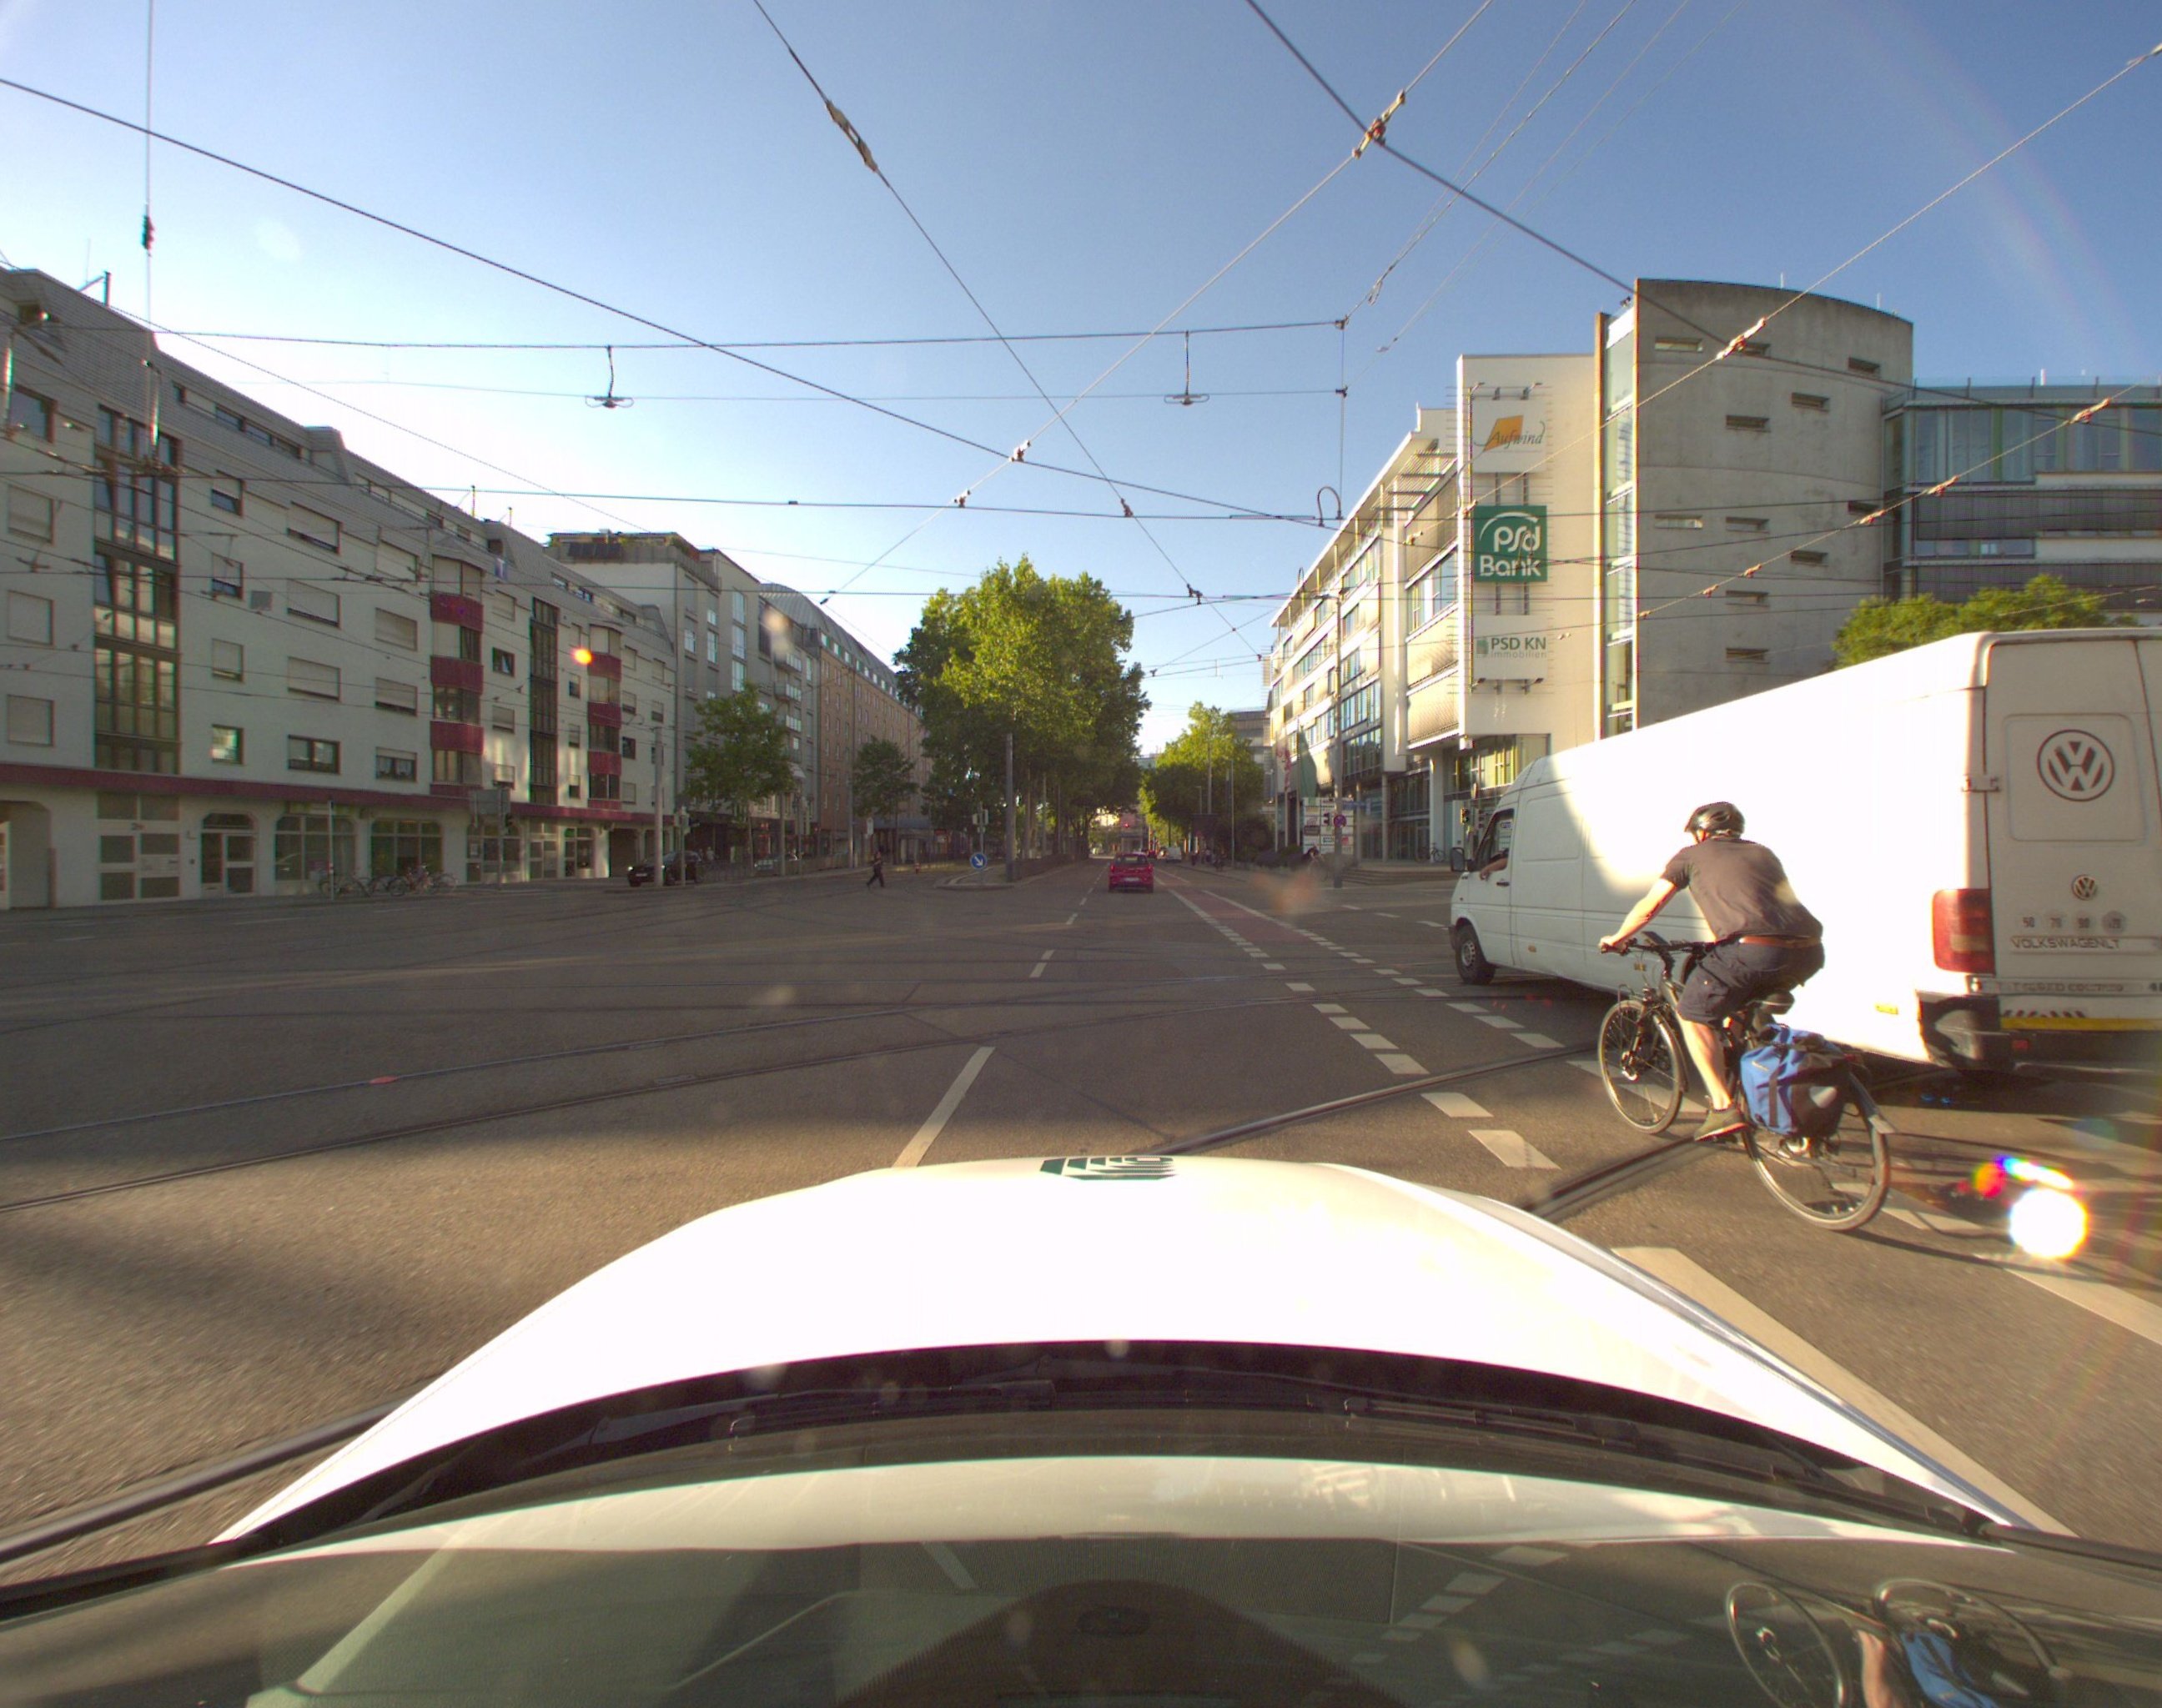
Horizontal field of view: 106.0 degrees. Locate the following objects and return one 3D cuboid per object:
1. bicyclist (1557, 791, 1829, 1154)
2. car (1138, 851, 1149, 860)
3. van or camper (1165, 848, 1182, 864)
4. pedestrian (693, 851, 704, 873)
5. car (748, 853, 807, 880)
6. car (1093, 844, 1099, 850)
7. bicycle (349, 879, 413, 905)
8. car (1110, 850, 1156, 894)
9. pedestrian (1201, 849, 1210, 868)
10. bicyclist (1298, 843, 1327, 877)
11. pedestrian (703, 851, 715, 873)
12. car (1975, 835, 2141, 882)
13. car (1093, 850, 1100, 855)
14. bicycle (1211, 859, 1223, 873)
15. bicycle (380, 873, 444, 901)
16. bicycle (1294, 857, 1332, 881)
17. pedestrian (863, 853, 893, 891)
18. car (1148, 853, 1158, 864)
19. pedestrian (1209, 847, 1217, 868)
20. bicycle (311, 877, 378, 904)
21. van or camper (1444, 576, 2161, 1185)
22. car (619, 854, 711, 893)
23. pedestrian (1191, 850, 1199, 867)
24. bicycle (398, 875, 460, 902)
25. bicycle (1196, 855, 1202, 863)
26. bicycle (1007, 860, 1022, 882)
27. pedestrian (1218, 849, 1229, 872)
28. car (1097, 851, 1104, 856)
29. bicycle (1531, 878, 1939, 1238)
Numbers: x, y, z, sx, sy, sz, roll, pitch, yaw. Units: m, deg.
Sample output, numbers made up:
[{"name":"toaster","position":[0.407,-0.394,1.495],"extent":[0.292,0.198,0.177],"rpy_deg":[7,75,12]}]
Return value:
[{"name":"bicyclist","position":[3.035,0.523,4.167],"extent":[0.646,1.603,1.091],"rpy_deg":[-1,0,7]},{"name":"car","position":[11.492,0.234,149.735],"extent":[1.773,1.534,3.509],"rpy_deg":[0,0,-2]},{"name":"van or camper","position":[12.057,0.234,106.297],"extent":[1.985,1.989,4.749],"rpy_deg":[0,0,3]},{"name":"pedestrian","position":[-26.675,0.537,56.789],"extent":[0.533,1.494,0.587],"rpy_deg":[-1,0,-1]},{"name":"car","position":[-18.941,0.737,51.045],"extent":[1.947,1.595,4.262],"rpy_deg":[-1,0,2]},{"name":"car","position":[4.436,-2.122,244.336],"extent":[1.773,1.588,3.409],"rpy_deg":[0,0,-2]},{"name":"bicycle","position":[-24.291,1.310,28.268],"extent":[1.834,0.854,0.554],"rpy_deg":[-1,0,4]},{"name":"car","position":[1.883,0.631,30.223],"extent":[1.607,1.534,3.414],"rpy_deg":[0,0,2]},{"name":"pedestrian","position":[11.409,0.401,74.437],"extent":[0.562,1.702,0.907],"rpy_deg":[-4,0,0]},{"name":"bicyclist","position":[11.130,0.299,39.223],"extent":[0.726,1.603,1.078],"rpy_deg":[-3,0,-29]},{"name":"pedestrian","position":[-26.002,0.547,56.895],"extent":[0.533,1.494,0.587],"rpy_deg":[-1,0,-1]},{"name":"car","position":[37.398,0.159,31.247],"extent":[3.973,1.695,1.988],"rpy_deg":[-1,0,1]},{"name":"car","position":[4.602,-0.525,238.313],"extent":[1.773,1.534,3.409],"rpy_deg":[0,0,-2]},{"name":"bicycle","position":[9.800,0.853,58.794],"extent":[0.519,0.975,2.202],"rpy_deg":[-4,1,1]},{"name":"bicycle","position":[-24.268,1.204,29.543],"extent":[1.837,0.985,0.553],"rpy_deg":[-1,0,-1]},{"name":"bicycle","position":[11.146,0.718,39.236],"extent":[0.700,1.098,1.734],"rpy_deg":[-4,1,-28]},{"name":"pedestrian","position":[-8.473,0.738,34.029],"extent":[1.042,1.544,0.694],"rpy_deg":[-1,0,0]},{"name":"car","position":[12.075,0.792,137.070],"extent":[1.628,1.800,3.334],"rpy_deg":[-1,0,4]},{"name":"pedestrian","position":[12.099,0.316,74.598],"extent":[0.538,1.796,0.907],"rpy_deg":[-4,0,0]},{"name":"bicycle","position":[-24.919,1.238,27.561],"extent":[1.834,0.854,0.554],"rpy_deg":[-1,0,4]},{"name":"van or camper","position":[5.249,0.098,6.770],"extent":[1.960,2.716,6.310],"rpy_deg":[0,0,3]},{"name":"car","position":[-19.255,0.863,37.938],"extent":[1.947,1.672,4.262],"rpy_deg":[-1,0,2]},{"name":"pedestrian","position":[10.771,0.409,76.959],"extent":[0.640,1.579,0.723],"rpy_deg":[-4,0,0]},{"name":"bicycle","position":[-24.125,1.271,30.147],"extent":[1.837,0.985,0.553],"rpy_deg":[-1,0,-1]},{"name":"bicycle","position":[16.119,0.620,111.624],"extent":[0.583,1.067,1.900],"rpy_deg":[-2,0,2]},{"name":"bicycle","position":[-3.136,0.788,38.452],"extent":[0.393,0.949,1.354],"rpy_deg":[-1,3,8]},{"name":"pedestrian","position":[10.287,0.457,58.752],"extent":[0.644,1.680,0.651],"rpy_deg":[-1,0,1]},{"name":"car","position":[5.626,-0.174,231.682],"extent":[1.773,1.534,3.409],"rpy_deg":[0,0,-2]},{"name":"bicycle","position":[3.014,0.798,4.071],"extent":[0.646,1.281,1.970],"rpy_deg":[-1,0,7]}]
